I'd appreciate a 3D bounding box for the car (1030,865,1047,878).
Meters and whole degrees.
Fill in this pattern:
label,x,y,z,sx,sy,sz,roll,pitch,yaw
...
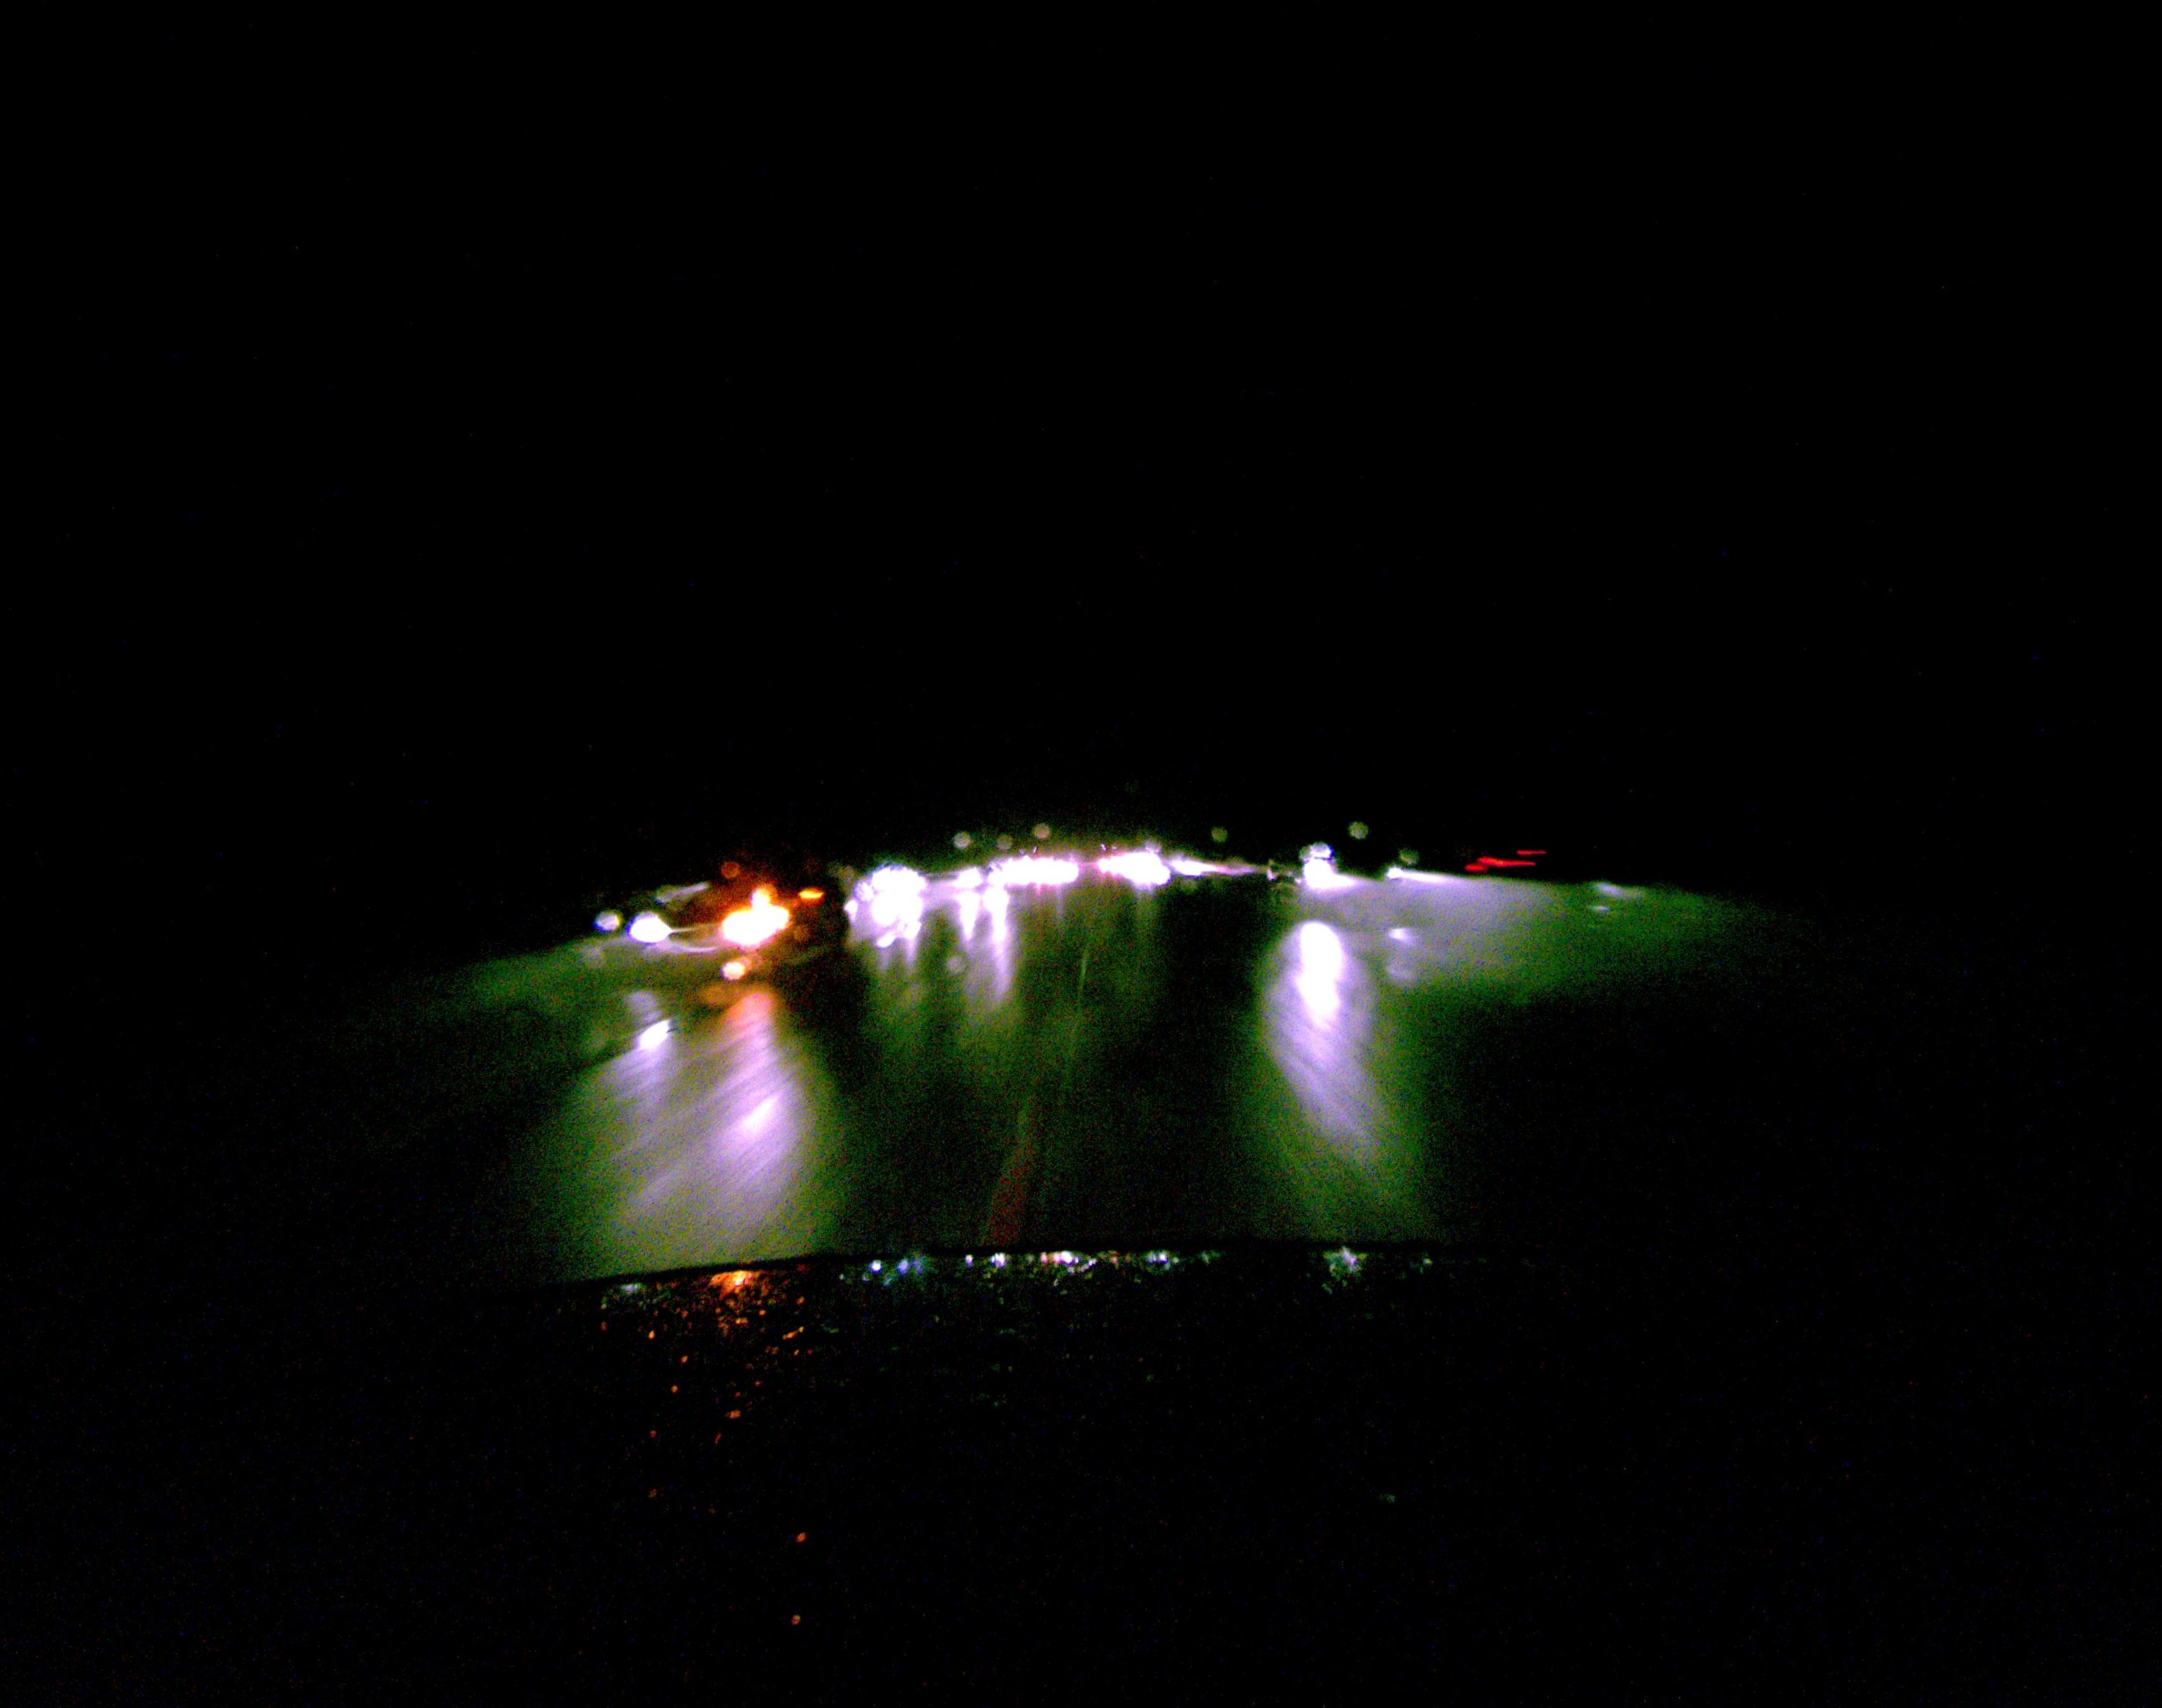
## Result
label,x,y,z,sx,sy,sz,roll,pitch,yaw
car,-4.395,1.802,78.710,1.712,1.286,3.991,1,-2,-4

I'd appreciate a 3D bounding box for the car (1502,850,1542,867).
label,x,y,z,sx,sy,sz,roll,pitch,yaw
car,46.932,0.490,80.949,1.997,1.761,4.572,-2,-1,6

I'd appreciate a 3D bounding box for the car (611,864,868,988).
label,x,y,z,sx,sy,sz,roll,pitch,yaw
car,-5.288,0.998,12.722,2.063,1.510,5.014,-2,0,-1

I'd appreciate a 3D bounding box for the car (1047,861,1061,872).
label,x,y,z,sx,sy,sz,roll,pitch,yaw
car,-3.578,1.642,98.912,1.712,1.286,3.991,1,-2,-4

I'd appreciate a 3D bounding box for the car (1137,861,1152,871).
label,x,y,z,sx,sy,sz,roll,pitch,yaw
car,8.726,1.682,103.889,1.711,1.286,3.992,1,-2,0

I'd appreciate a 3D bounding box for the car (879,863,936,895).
label,x,y,z,sx,sy,sz,roll,pitch,yaw
car,-8.891,1.258,39.328,1.723,1.488,4.045,-2,-1,4

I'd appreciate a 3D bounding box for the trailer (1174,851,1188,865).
label,x,y,z,sx,sy,sz,roll,pitch,yaw
trailer,31.434,1.268,238.835,2.819,3.975,13.929,1,1,2

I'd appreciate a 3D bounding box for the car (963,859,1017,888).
label,x,y,z,sx,sy,sz,roll,pitch,yaw
car,-4.847,1.020,41.108,1.998,1.440,4.337,-2,-1,5

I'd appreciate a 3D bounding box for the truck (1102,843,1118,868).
label,x,y,z,sx,sy,sz,roll,pitch,yaw
truck,5.204,0.223,136.972,2.503,4.223,13.641,1,1,1

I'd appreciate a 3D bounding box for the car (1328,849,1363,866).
label,x,y,z,sx,sy,sz,roll,pitch,yaw
car,24.369,0.273,70.248,1.844,1.451,4.292,1,1,2

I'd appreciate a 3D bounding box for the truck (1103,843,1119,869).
label,x,y,z,sx,sy,sz,roll,pitch,yaw
truck,5.056,0.319,130.211,2.503,4.223,5.981,1,1,1

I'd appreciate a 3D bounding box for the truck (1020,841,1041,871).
label,x,y,z,sx,sy,sz,roll,pitch,yaw
truck,-7.223,0.196,109.373,2.766,4.198,6.191,1,1,-3

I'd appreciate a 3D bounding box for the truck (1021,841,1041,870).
label,x,y,z,sx,sy,sz,roll,pitch,yaw
truck,-7.613,0.093,116.168,2.766,4.198,13.820,1,1,-3

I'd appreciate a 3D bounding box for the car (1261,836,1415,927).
label,x,y,z,sx,sy,sz,roll,pitch,yaw
car,6.017,0.533,18.637,2.141,1.873,5.555,-1,1,3

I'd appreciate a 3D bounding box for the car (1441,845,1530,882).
label,x,y,z,sx,sy,sz,roll,pitch,yaw
car,18.995,0.370,35.939,1.671,1.588,4.890,1,1,2
